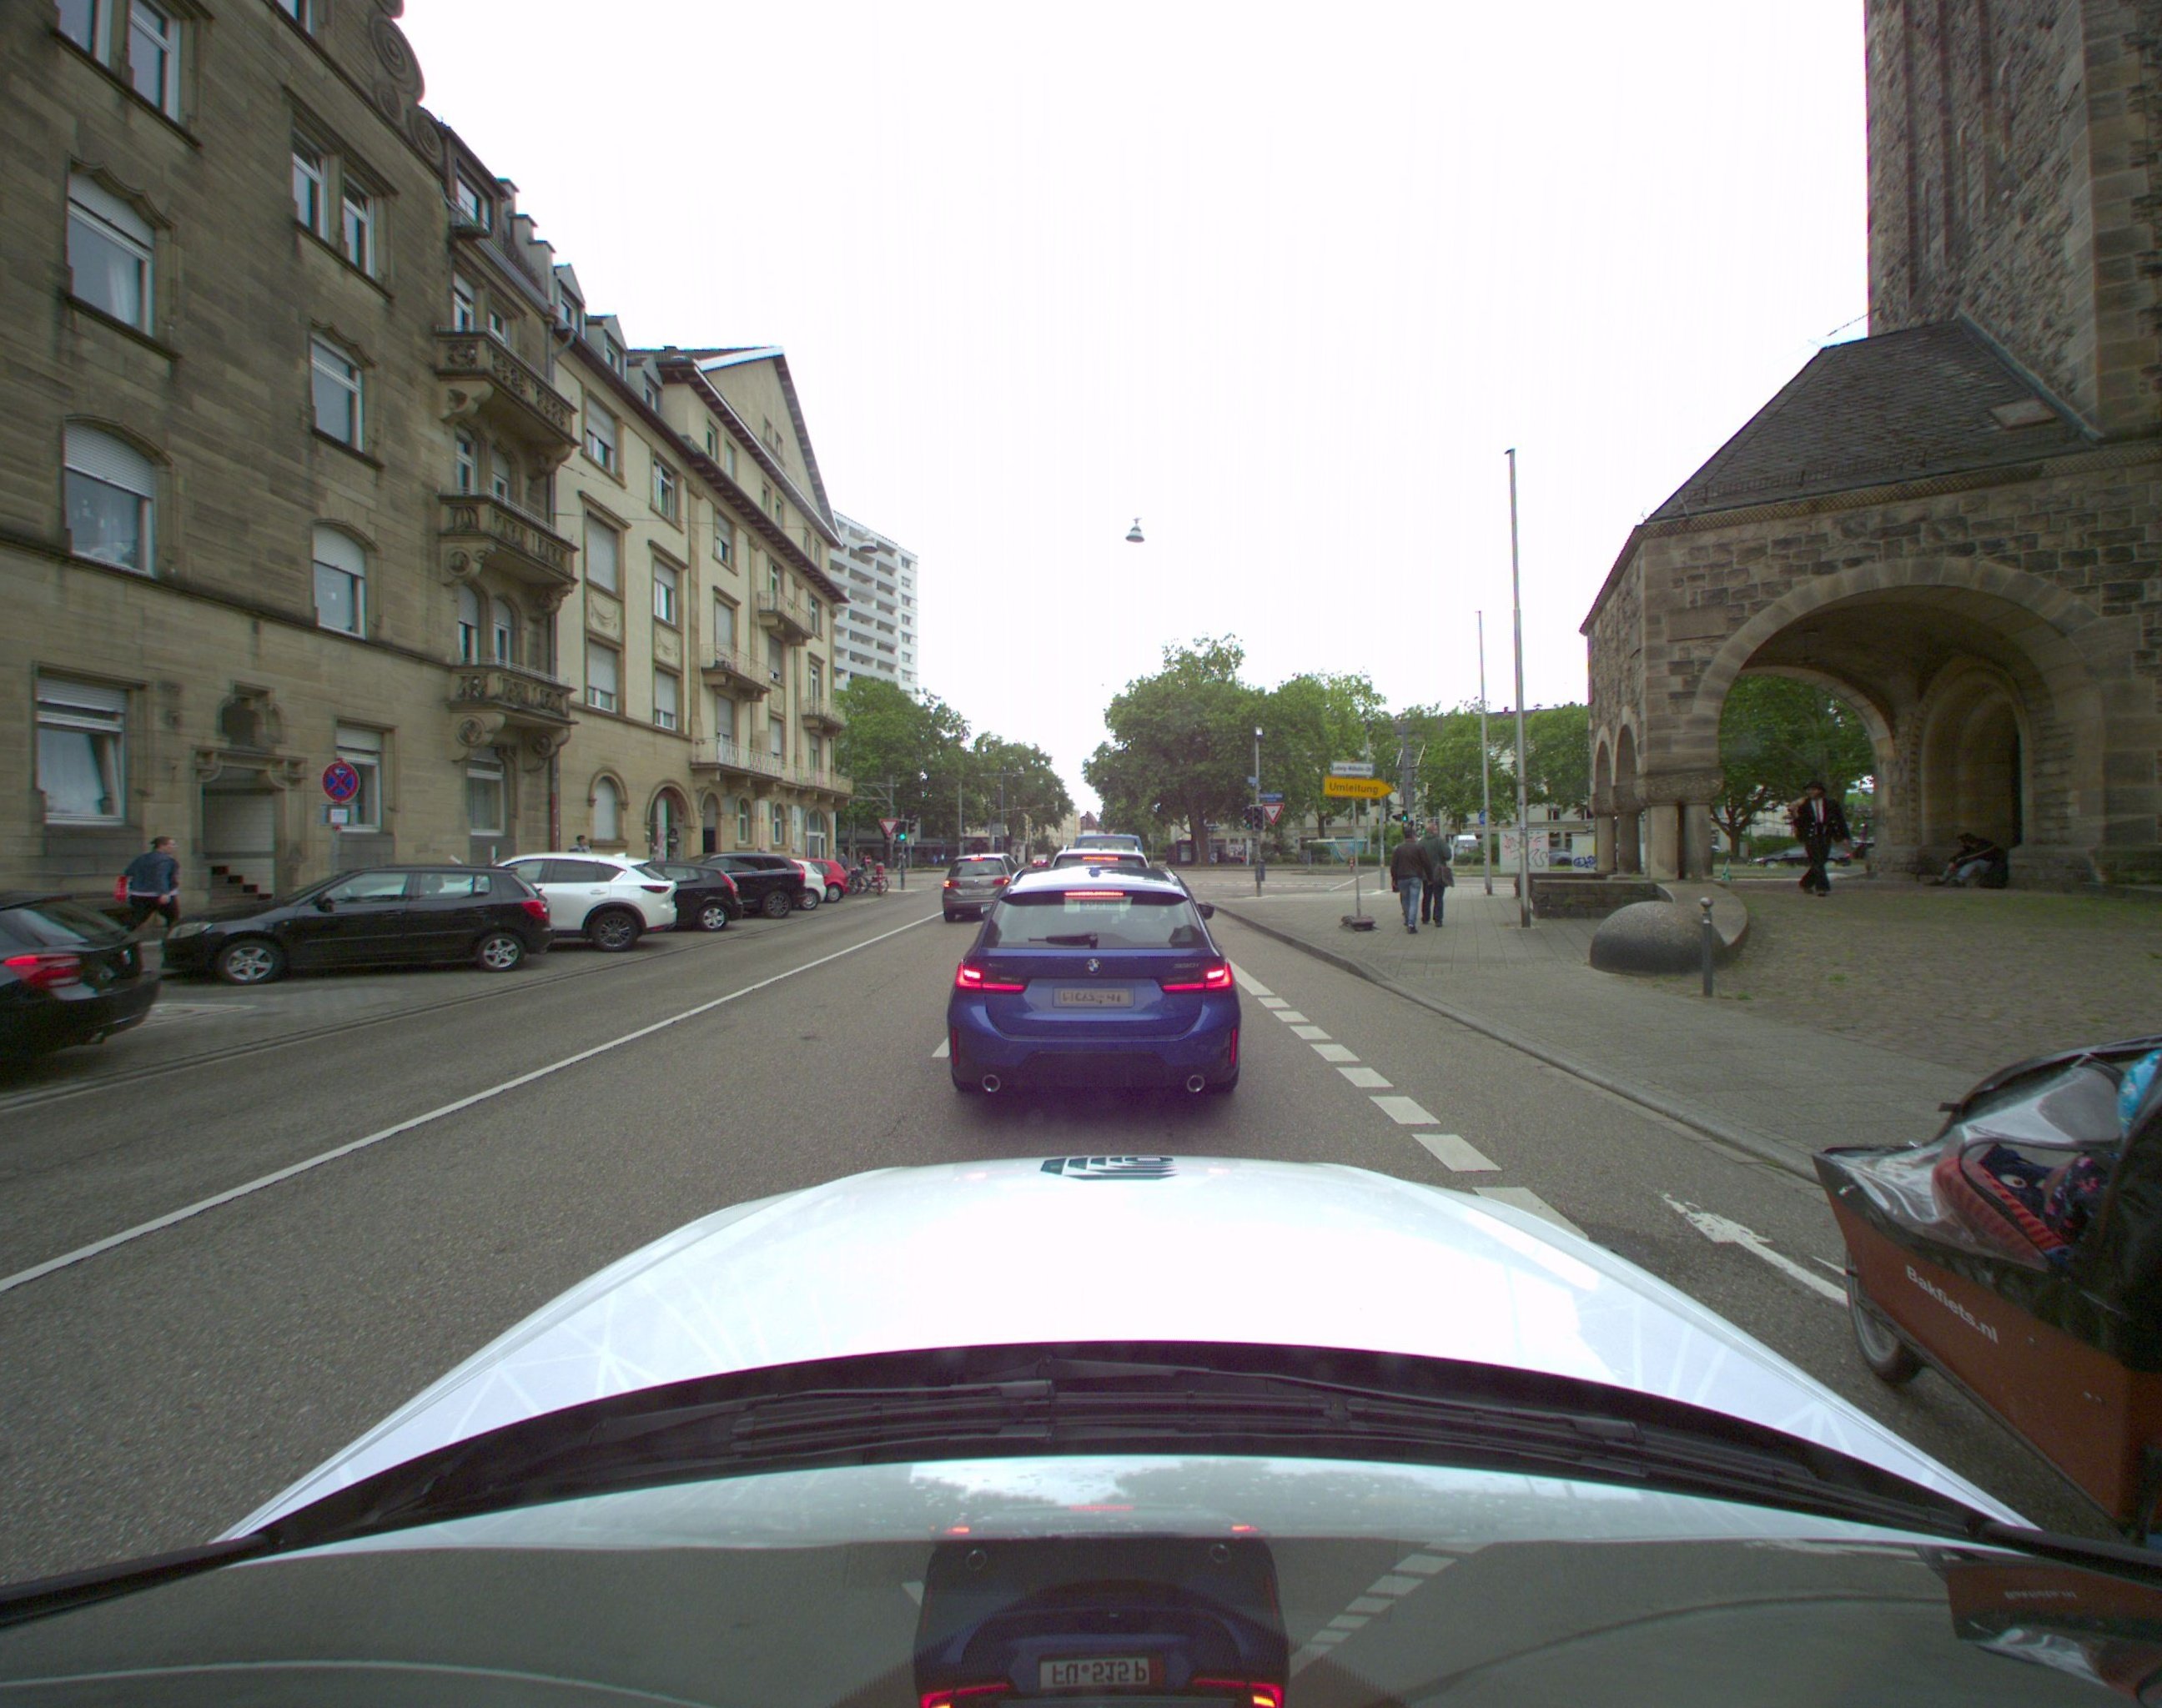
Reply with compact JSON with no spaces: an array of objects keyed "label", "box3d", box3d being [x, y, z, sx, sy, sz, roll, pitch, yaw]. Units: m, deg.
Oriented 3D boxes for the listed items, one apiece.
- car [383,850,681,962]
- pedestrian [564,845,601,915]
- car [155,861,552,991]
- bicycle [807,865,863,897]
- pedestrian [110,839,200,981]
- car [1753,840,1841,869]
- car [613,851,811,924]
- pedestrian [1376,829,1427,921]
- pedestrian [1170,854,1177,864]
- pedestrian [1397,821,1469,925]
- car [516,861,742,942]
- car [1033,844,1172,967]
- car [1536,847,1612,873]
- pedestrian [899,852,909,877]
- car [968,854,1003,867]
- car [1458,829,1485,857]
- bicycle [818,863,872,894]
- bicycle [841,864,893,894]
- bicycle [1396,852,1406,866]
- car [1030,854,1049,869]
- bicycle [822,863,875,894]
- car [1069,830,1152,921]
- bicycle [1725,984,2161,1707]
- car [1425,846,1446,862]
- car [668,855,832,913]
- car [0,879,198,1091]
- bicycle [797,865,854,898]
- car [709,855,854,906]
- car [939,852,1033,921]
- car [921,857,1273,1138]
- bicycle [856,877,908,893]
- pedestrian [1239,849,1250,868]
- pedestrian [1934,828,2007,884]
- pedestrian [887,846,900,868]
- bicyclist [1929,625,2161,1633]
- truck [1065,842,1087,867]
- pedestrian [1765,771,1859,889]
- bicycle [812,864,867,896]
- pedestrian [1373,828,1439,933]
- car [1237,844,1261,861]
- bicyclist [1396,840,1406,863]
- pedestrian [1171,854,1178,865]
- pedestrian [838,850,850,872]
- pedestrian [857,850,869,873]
[{"label":"car","box3d":[-9.277,0.797,14.205,4.004,1.723,1.827,0,0,-23]},{"label":"pedestrian","box3d":[-12.962,0.662,21.185,0.564,1.785,0.551,-1,0,3]},{"label":"car","box3d":[-9.628,0.868,11.206,3.830,1.497,1.552,1,-1,-37]},{"label":"bicycle","box3d":[-9.152,0.990,30.333,1.880,1.035,0.442,5,0,-1]},{"label":"pedestrian","box3d":[-13.147,0.777,11.575,0.616,1.958,0.551,-1,0,2]},{"label":"car","box3d":[40.980,0.018,46.723,3.425,1.561,1.697,-1,0,24]},{"label":"car","box3d":[-9.215,0.770,20.538,4.248,1.651,1.711,0,0,-41]},{"label":"pedestrian","box3d":[6.125,0.391,15.616,0.629,1.673,0.971,-3,0,8]},{"label":"pedestrian","box3d":[11.842,0.636,103.930,0.814,1.372,0.763,-1,0,1]},{"label":"pedestrian","box3d":[6.271,0.333,14.566,0.801,1.758,0.969,-3,0,1]},{"label":"car","box3d":[-9.502,0.912,17.249,4.017,1.494,1.713,0,0,-36]},{"label":"car","box3d":[0.348,0.676,12.795,1.808,1.592,4.002,-1,0,2]},{"label":"car","box3d":[31.362,0.384,51.946,3.940,1.561,1.697,-1,0,24]},{"label":"pedestrian","box3d":[-14.691,0.855,67.555,0.623,2.014,0.617,0,-1,0]},{"label":"car","box3d":[-12.347,0.842,105.071,4.014,1.706,1.980,0,-1,-32]},{"label":"car","box3d":[39.124,-1.061,81.579,2.214,2.639,5.480,-1,0,28]},{"label":"bicycle","box3d":[-9.147,0.951,31.532,1.880,1.035,0.442,5,0,-1]},{"label":"bicycle","box3d":[-8.584,0.996,32.703,1.880,1.035,0.442,5,0,-1]},{"label":"bicycle","box3d":[23.206,0.370,59.058,0.546,0.995,2.072,-1,0,24]},{"label":"car","box3d":[-4.207,0.781,83.558,1.643,1.447,3.512,-1,0,2]},{"label":"bicycle","box3d":[-9.163,0.968,32.168,1.880,1.035,0.442,5,0,-1]},{"label":"car","box3d":[0.723,0.471,20.194,1.808,2.005,4.002,-1,0,2]},{"label":"bicycle","box3d":[1.958,0.963,1.454,0.490,1.098,2.148,-1,0,17]},{"label":"car","box3d":[35.052,-0.029,80.492,1.649,1.515,3.962,-1,0,28]},{"label":"car","box3d":[-9.368,0.823,23.221,4.021,1.472,1.546,2,0,-41]},{"label":"car","box3d":[-9.113,0.907,5.465,4.016,1.417,1.644,1,-1,-34]},{"label":"bicycle","box3d":[-9.267,0.990,29.519,1.877,1.035,0.443,4,0,4]},{"label":"car","box3d":[-9.495,0.809,26.047,1.663,1.472,4.024,1,0,43]},{"label":"car","box3d":[-2.268,0.735,20.327,1.726,1.525,4.002,-1,0,2]},{"label":"car","box3d":[0.150,0.759,6.410,1.808,1.405,4.322,-1,0,2]},{"label":"bicycle","box3d":[-8.220,1.286,33.734,1.880,0.445,1.029,5,2,-1]},{"label":"pedestrian","box3d":[15.651,0.412,77.914,0.781,1.743,0.925,-1,0,0]},{"label":"pedestrian","box3d":[15.503,0.042,14.212,0.665,0.951,0.618,-1,0,24]},{"label":"pedestrian","box3d":[-15.694,0.264,68.097,0.668,1.771,0.730,-1,0,43]},{"label":"bicyclist","box3d":[1.925,0.415,1.070,0.680,1.517,1.063,-1,0,18]},{"label":"truck","box3d":[-0.473,0.053,81.219,2.068,2.408,5.461,-2,0,0]},{"label":"pedestrian","box3d":[11.704,-0.368,13.084,0.806,1.808,1.025,-1,0,22]},{"label":"bicycle","box3d":[-9.149,0.972,30.870,1.880,1.035,0.442,5,0,-1]},{"label":"pedestrian","box3d":[5.480,0.427,13.777,0.672,1.686,0.969,-3,0,2]},{"label":"car","box3d":[22.121,-0.191,107.079,2.154,2.200,4.024,-1,0,26]},{"label":"bicyclist","box3d":[23.220,-0.170,59.021,0.608,1.654,0.758,-1,0,23]},{"label":"pedestrian","box3d":[11.822,0.668,102.981,0.850,1.314,0.763,-1,0,1]},{"label":"pedestrian","box3d":[-18.579,0.542,63.767,0.672,1.771,0.726,-1,0,1]},{"label":"pedestrian","box3d":[-17.252,0.564,64.520,0.672,1.771,0.726,-1,0,1]}]
